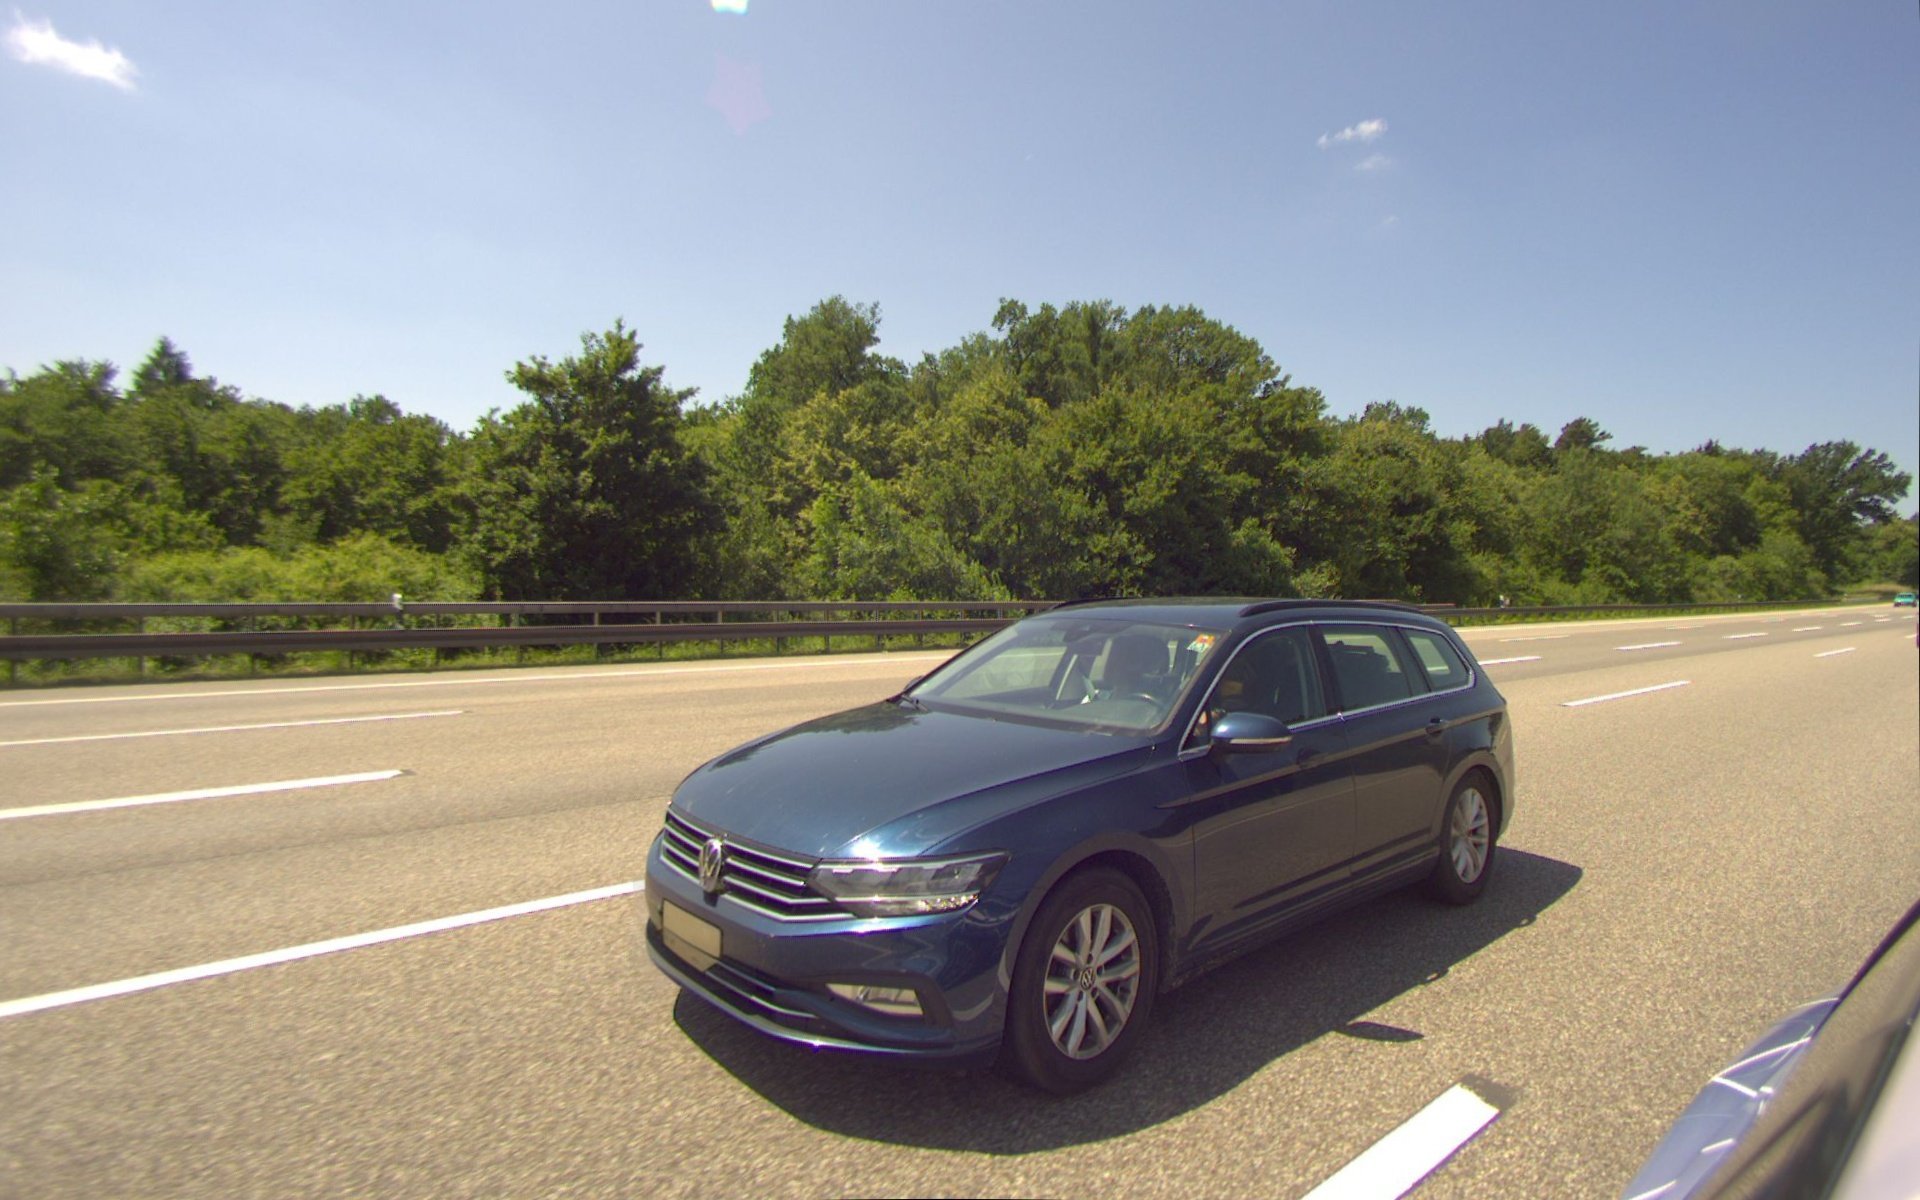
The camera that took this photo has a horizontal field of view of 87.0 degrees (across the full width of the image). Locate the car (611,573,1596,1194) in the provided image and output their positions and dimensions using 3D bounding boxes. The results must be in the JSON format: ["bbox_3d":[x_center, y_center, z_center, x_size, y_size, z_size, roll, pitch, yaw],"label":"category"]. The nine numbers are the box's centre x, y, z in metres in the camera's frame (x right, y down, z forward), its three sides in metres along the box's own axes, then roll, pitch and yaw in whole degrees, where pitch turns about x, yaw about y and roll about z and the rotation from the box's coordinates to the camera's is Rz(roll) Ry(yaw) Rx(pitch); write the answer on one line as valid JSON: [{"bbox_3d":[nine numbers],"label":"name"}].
[{"bbox_3d":[1.115,0.647,4.676,4.874,1.465,1.733,0,2,-41],"label":"car"}]

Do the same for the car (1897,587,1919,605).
[{"bbox_3d":[98.612,-0.432,104.613,4.053,1.701,1.999,-1,3,-39],"label":"car"}]
